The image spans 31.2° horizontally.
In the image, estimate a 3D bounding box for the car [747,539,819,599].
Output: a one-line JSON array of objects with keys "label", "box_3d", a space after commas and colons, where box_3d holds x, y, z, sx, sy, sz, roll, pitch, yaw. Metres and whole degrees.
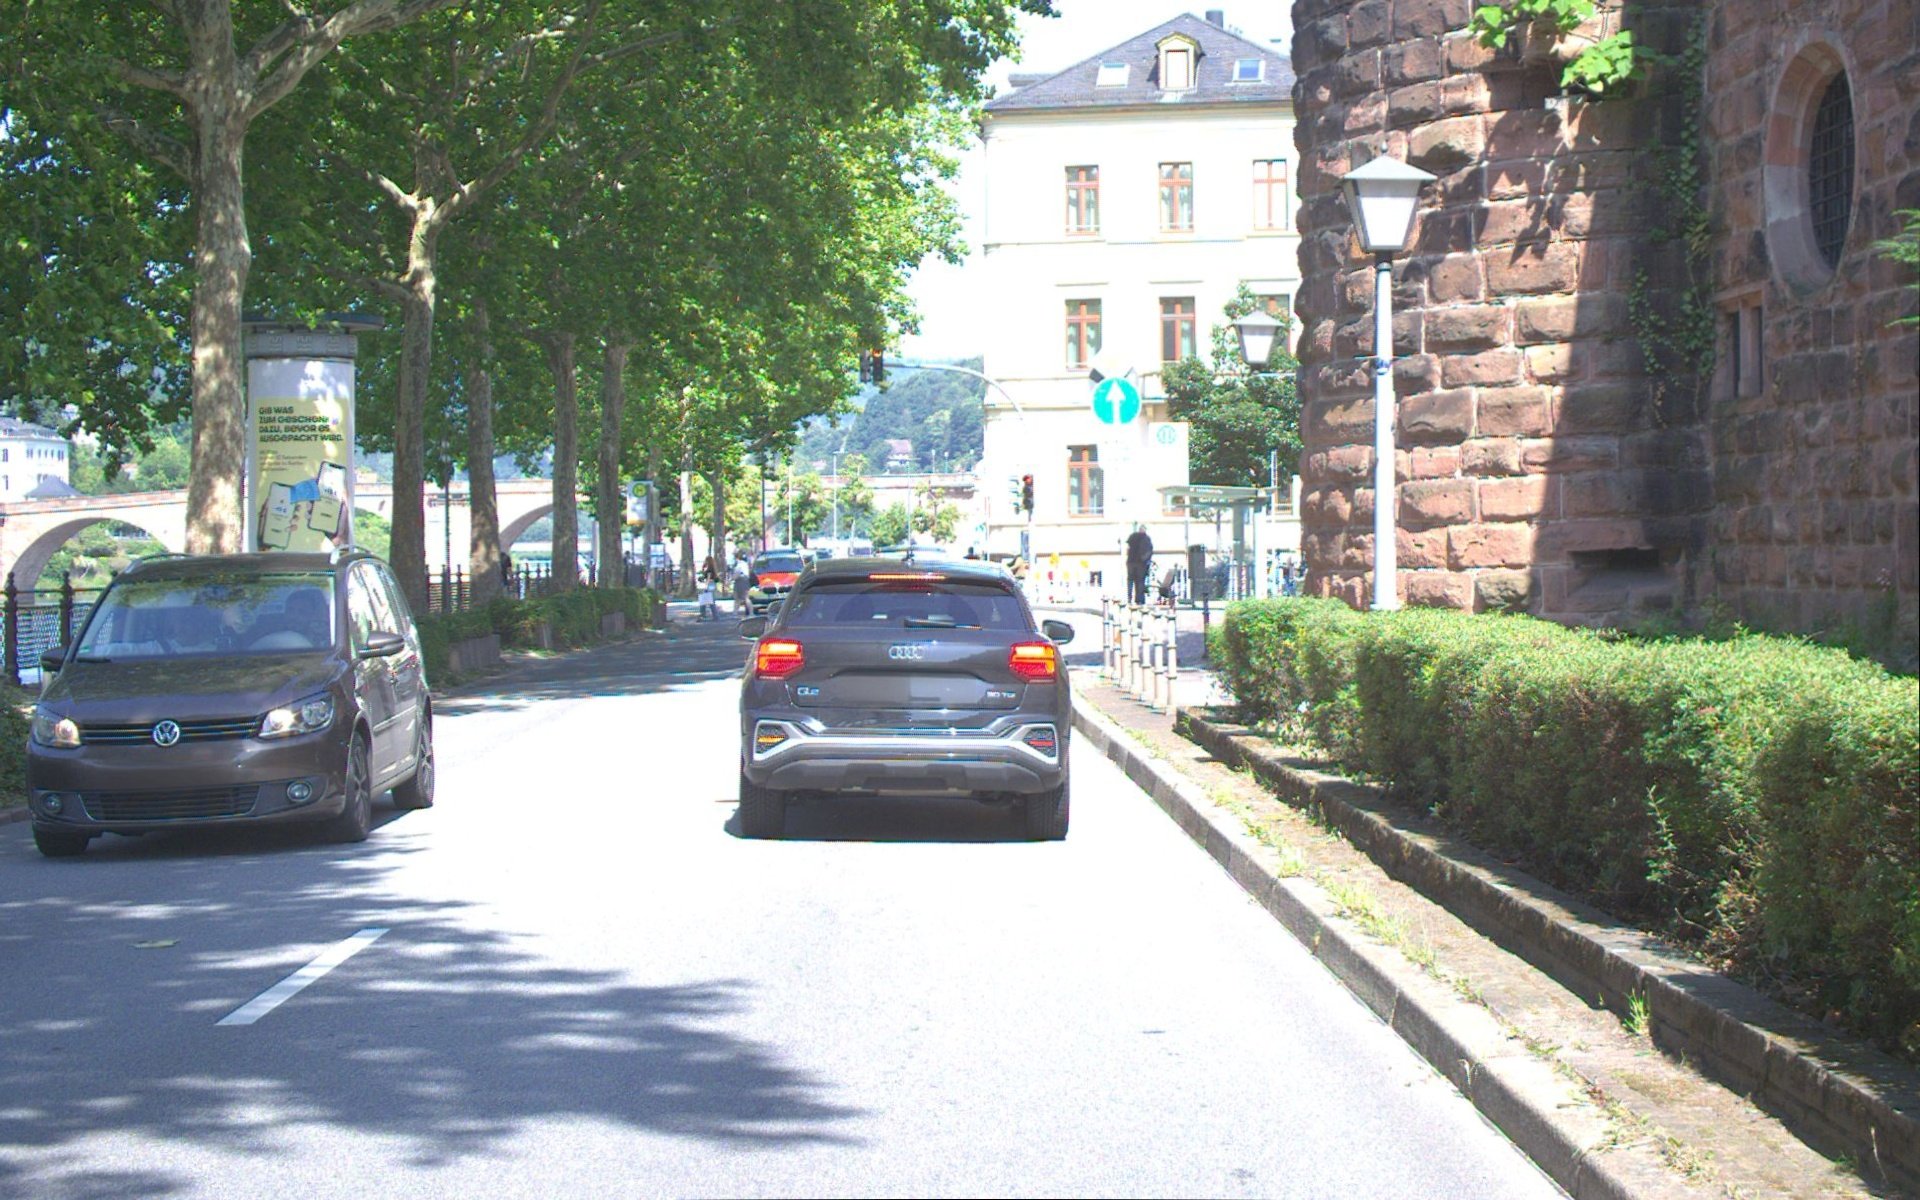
[{"label": "car", "box_3d": [-4.690, -0.836, 91.261, 1.615, 1.518, 3.476, -2, 1, 1]}]

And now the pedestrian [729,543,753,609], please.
[{"label": "pedestrian", "box_3d": [-5.420, -0.593, 84.922, 0.517, 1.632, 0.439, -2, 1, -7]}]

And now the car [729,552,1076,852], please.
[{"label": "car", "box_3d": [-0.347, 0.499, 19.442, 1.748, 1.489, 3.629, 1, 1, -2]}]

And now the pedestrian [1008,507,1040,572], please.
[{"label": "pedestrian", "box_3d": [1.553, -1.466, 83.671, 0.747, 1.552, 0.588, 1, 0, 1]}]

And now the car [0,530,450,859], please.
[{"label": "car", "box_3d": [-4.120, 0.452, 19.730, 1.763, 1.642, 4.090, -2, 1, 0]}]

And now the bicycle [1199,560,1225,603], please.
[{"label": "bicycle", "box_3d": [5.814, -0.424, 79.320, 0.450, 0.971, 1.400, 2, 1, 0]}]

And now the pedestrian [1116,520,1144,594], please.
[{"label": "pedestrian", "box_3d": [3.765, -0.953, 75.998, 0.557, 1.627, 0.660, 1, 0, 1]}]

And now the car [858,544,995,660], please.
[{"label": "car", "box_3d": [-0.455, -0.001, 47.205, 1.801, 1.518, 3.716, 0, 1, 0]}]

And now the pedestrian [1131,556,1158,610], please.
[{"label": "pedestrian", "box_3d": [4.135, -0.382, 76.955, 0.546, 1.197, 0.522, 2, 0, 1]}]

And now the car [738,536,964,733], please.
[{"label": "car", "box_3d": [-0.895, 0.252, 29.826, 1.801, 1.557, 3.716, -2, 1, 0]}]

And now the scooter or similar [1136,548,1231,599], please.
[{"label": "scooter or similar", "box_3d": [4.450, -0.532, 68.507, 1.845, 0.960, 0.429, 2, 0, -1]}]
